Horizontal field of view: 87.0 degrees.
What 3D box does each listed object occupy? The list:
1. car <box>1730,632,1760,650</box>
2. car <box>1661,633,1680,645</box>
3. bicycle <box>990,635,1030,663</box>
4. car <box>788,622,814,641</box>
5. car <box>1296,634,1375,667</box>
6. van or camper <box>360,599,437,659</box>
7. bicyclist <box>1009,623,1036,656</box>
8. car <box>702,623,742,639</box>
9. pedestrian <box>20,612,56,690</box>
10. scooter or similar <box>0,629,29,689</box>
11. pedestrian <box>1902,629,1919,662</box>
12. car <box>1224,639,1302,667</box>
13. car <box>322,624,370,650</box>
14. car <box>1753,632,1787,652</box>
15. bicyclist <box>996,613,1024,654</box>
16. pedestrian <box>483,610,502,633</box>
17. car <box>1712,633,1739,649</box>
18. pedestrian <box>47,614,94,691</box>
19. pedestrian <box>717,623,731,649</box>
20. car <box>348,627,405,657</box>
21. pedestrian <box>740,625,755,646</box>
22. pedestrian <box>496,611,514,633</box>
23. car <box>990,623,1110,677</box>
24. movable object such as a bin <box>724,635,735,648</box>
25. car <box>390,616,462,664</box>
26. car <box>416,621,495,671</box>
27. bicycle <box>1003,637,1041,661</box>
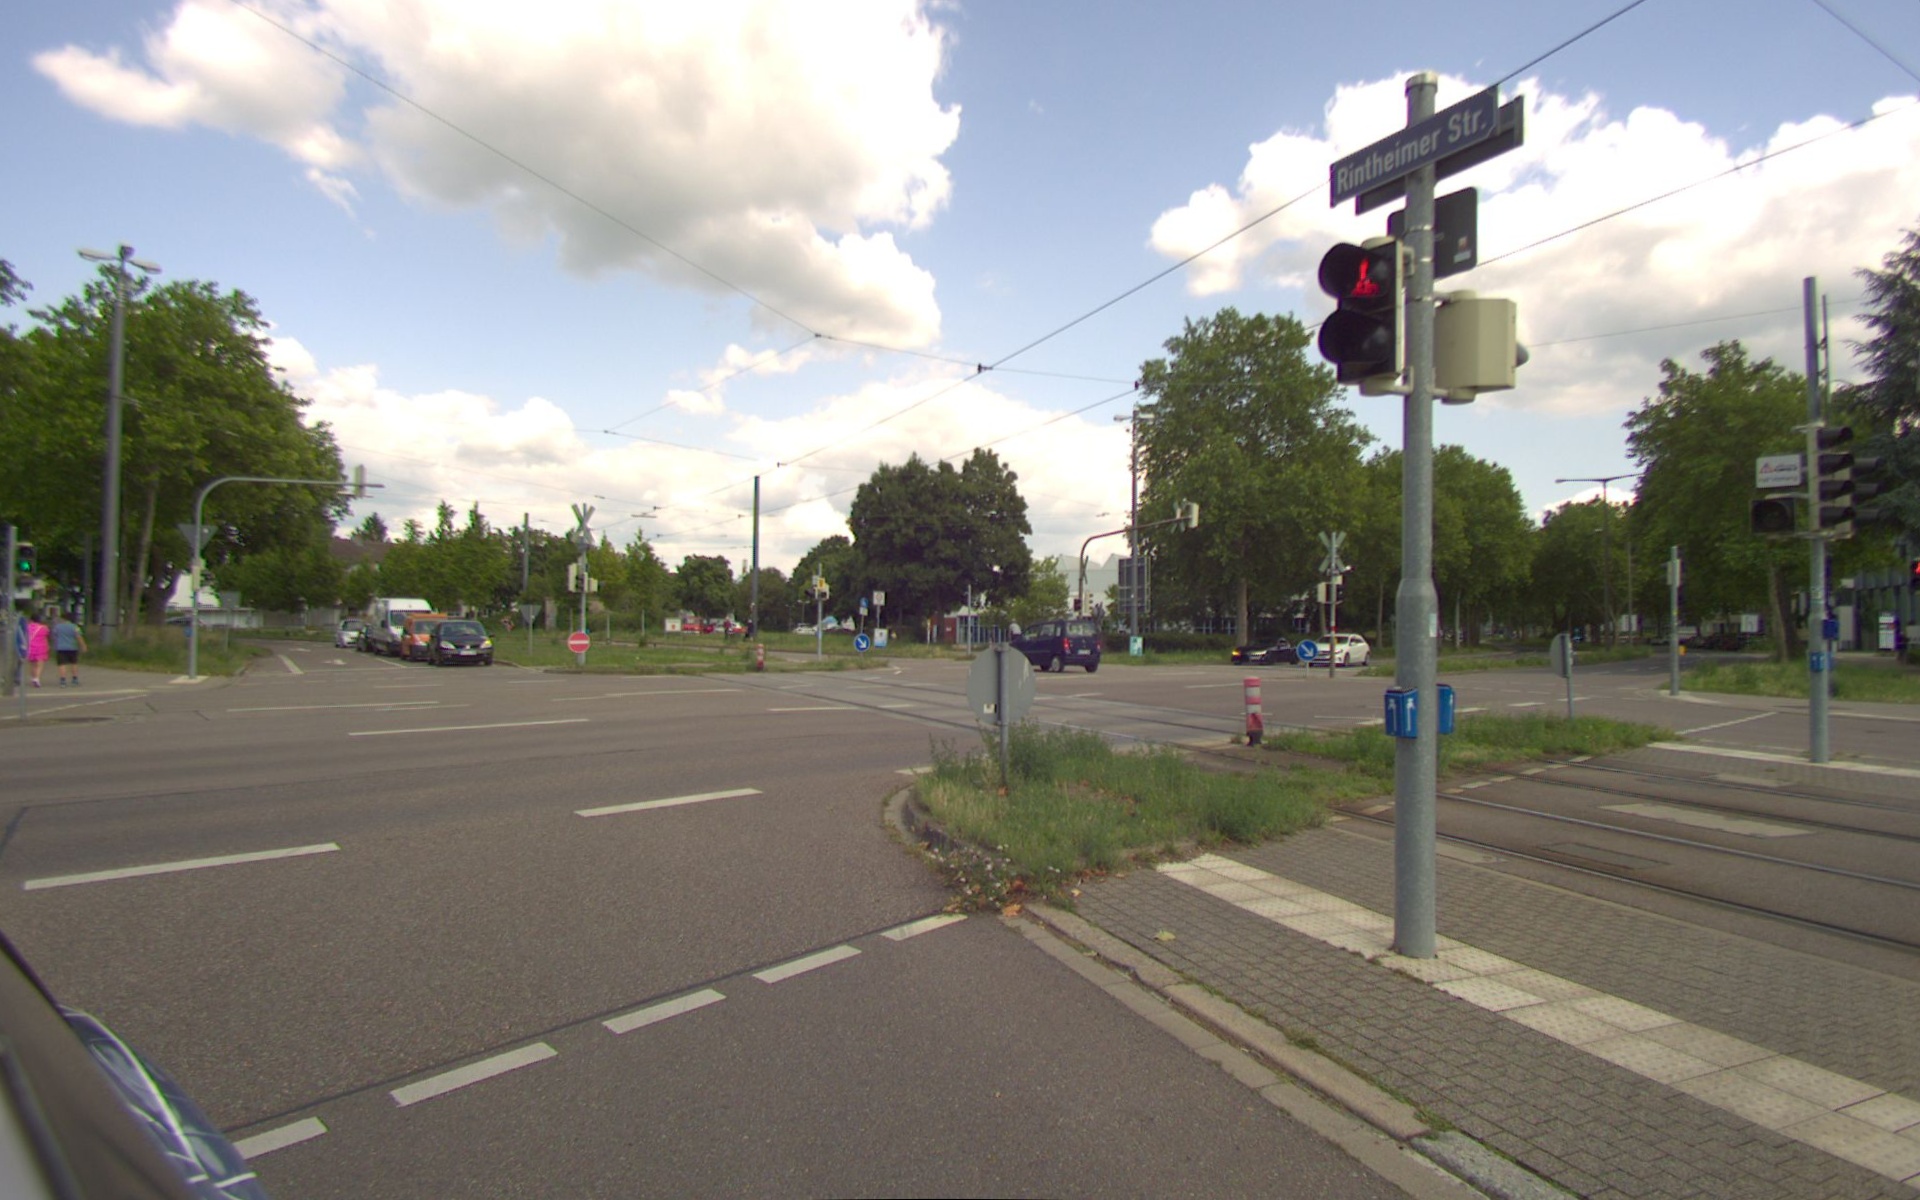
[{"bbox_3d":[79.146,4.118,102.065,1.994,1.586,3.955,-1,0,33],"label":"car"},{"bbox_3d":[101.515,5.528,144.636,1.994,1.586,3.955,-1,0,33],"label":"car"},{"bbox_3d":[2.175,2.145,44.286,0.935,1.163,1.990,1,-2,-23],"label":"bicycle"},{"bbox_3d":[-14.629,2.872,93.064,1.967,1.652,4.402,1,-2,-13],"label":"car"},{"bbox_3d":[16.559,2.186,44.574,1.831,1.375,4.079,-1,-2,43],"label":"car"},{"bbox_3d":[-25.468,1.352,45.785,1.951,2.544,6.047,2,-3,-39],"label":"van or camper"},{"bbox_3d":[2.846,1.802,46.109,0.946,1.500,0.839,1,-2,-22],"label":"bicyclist"},{"bbox_3d":[-24.104,3.150,102.501,3.933,1.542,2.005,1,-2,-13],"label":"car"},{"bbox_3d":[-19.638,1.068,21.556,0.414,1.631,0.598,1,-1,-30],"label":"pedestrian"},{"bbox_3d":[-20.067,1.240,21.436,0.316,1.241,0.778,-1,-1,-28],"label":"scooter or similar"},{"bbox_3d":[46.952,2.229,49.968,0.623,1.581,0.551,-2,-1,45],"label":"pedestrian"},{"bbox_3d":[13.887,2.394,46.292,3.648,1.201,1.643,2,-2,-38],"label":"car"},{"bbox_3d":[-34.618,2.067,56.996,1.782,1.442,4.392,2,-2,-38],"label":"car"},{"bbox_3d":[73.533,3.783,91.913,1.994,1.586,3.955,-1,0,33],"label":"car"},{"bbox_3d":[2.183,1.467,44.297,0.946,1.735,0.839,1,-2,-23],"label":"bicyclist"},{"bbox_3d":[-41.898,1.953,90.757,1.175,2.029,1.093,-1,-2,36],"label":"pedestrian"},{"bbox_3d":[82.845,4.414,109.582,1.994,1.586,3.955,-1,0,33],"label":"car"},{"bbox_3d":[-19.171,1.122,21.816,0.622,1.631,0.612,1,-1,-30],"label":"pedestrian"},{"bbox_3d":[-15.391,2.326,66.126,0.637,1.657,0.605,-2,-1,37],"label":"pedestrian"},{"bbox_3d":[-29.415,2.080,50.946,1.783,1.442,4.477,2,-2,-39],"label":"car"},{"bbox_3d":[-14.092,2.354,67.147,0.640,1.364,0.754,-1,-1,-39],"label":"pedestrian"},{"bbox_3d":[-41.225,2.005,91.694,1.175,2.029,1.093,-1,-2,36],"label":"pedestrian"},{"bbox_3d":[2.843,1.560,32.761,1.698,1.629,4.010,1,-2,-35],"label":"car"},{"bbox_3d":[-15.000,2.724,65.846,0.459,0.817,0.572,-2,-1,36],"label":"movable object such as a bin"},{"bbox_3d":[-21.353,1.565,40.375,1.853,1.813,4.380,2,-2,-37],"label":"car"},{"bbox_3d":[-17.604,1.564,35.233,1.707,1.643,4.061,2,-2,-37],"label":"car"},{"bbox_3d":[2.823,2.240,46.163,0.935,1.048,1.990,1,-2,-23],"label":"bicycle"}]
